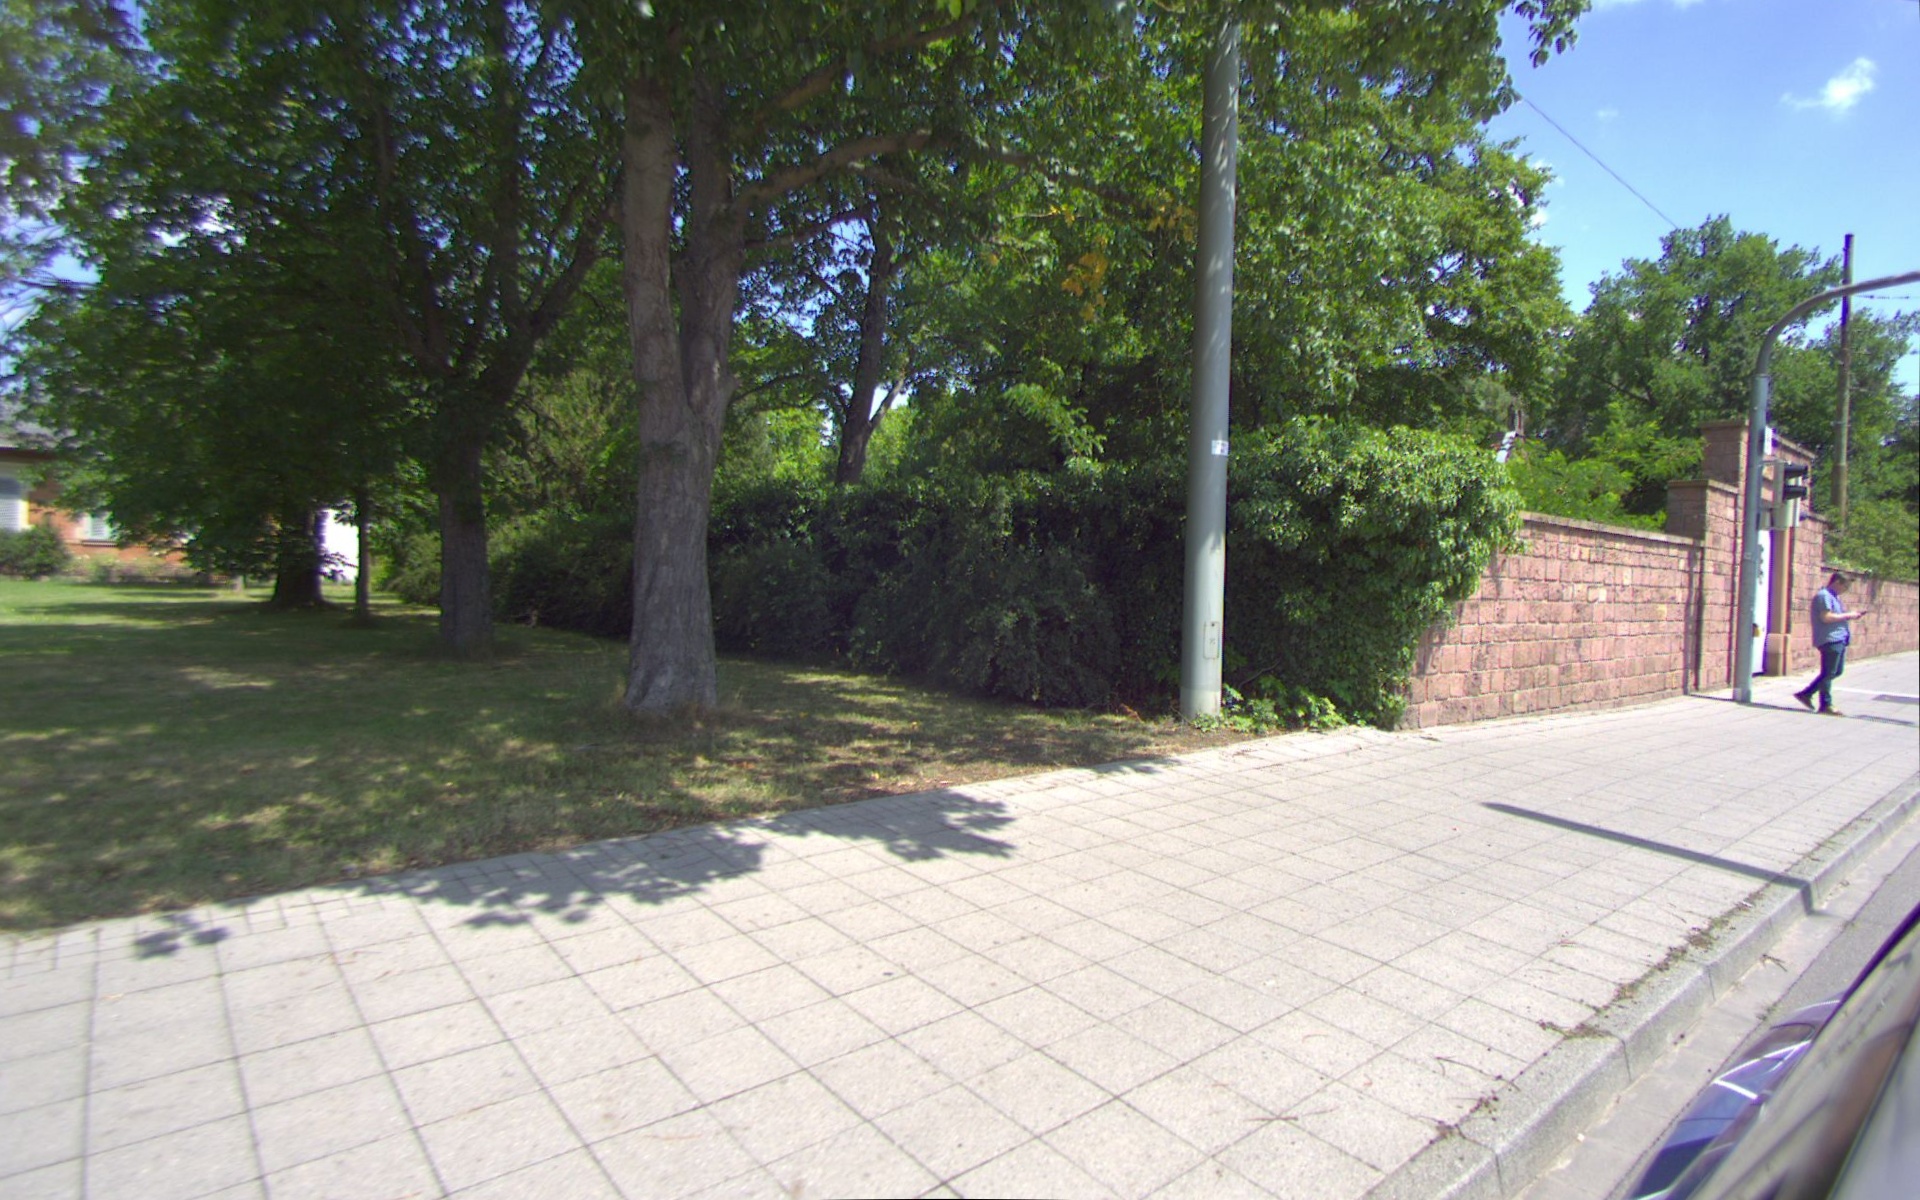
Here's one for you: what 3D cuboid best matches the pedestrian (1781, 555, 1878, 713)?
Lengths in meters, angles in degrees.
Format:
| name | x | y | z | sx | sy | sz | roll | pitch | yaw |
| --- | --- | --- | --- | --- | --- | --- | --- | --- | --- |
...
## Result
| name | x | y | z | sx | sy | sz | roll | pitch | yaw |
| --- | --- | --- | --- | --- | --- | --- | --- | --- | --- |
| pedestrian | 10.894 | 0.396 | 12.682 | 0.706 | 1.874 | 0.766 | 0 | 3 | -44 |
